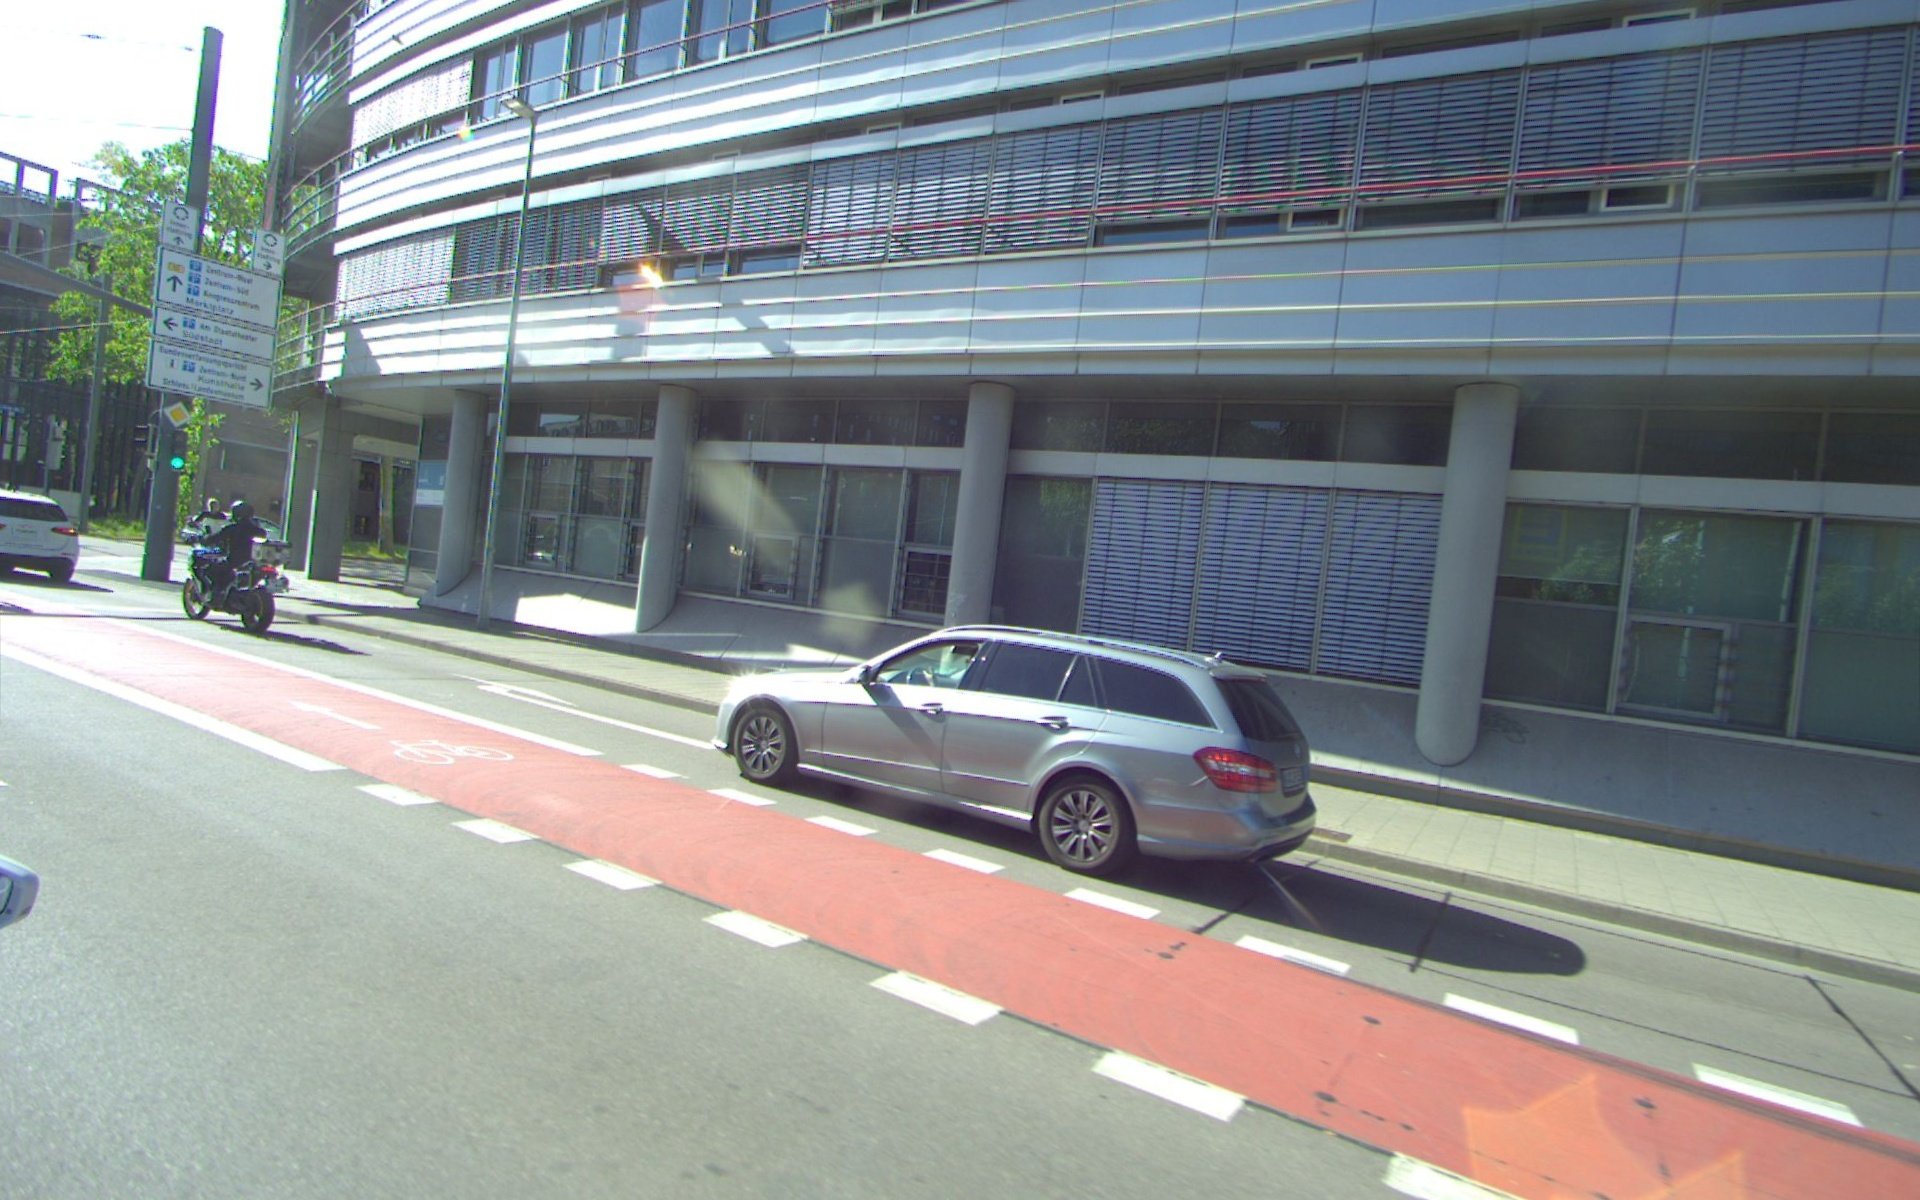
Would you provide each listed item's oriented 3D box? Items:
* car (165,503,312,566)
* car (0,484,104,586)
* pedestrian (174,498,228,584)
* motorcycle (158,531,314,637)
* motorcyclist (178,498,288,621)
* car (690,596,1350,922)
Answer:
[{"bbox_3d":[-26.983,-2.406,37.803,1.876,1.602,4.003,9,-1,18],"label":"car"},{"bbox_3d":[-18.035,-1.361,18.634,4.067,1.602,1.911,7,-1,30],"label":"car"},{"bbox_3d":[-16.957,-1.309,22.483,0.628,1.822,0.607,6,3,-5],"label":"pedestrian"},{"bbox_3d":[-10.183,-0.232,14.124,2.350,1.215,0.830,6,-1,31],"label":"motorcycle"},{"bbox_3d":[-10.209,-0.559,14.134,0.926,1.580,0.830,6,0,31],"label":"motorcyclist"},{"bbox_3d":[0.284,0.964,7.730,4.709,1.413,1.723,7,0,32],"label":"car"}]
